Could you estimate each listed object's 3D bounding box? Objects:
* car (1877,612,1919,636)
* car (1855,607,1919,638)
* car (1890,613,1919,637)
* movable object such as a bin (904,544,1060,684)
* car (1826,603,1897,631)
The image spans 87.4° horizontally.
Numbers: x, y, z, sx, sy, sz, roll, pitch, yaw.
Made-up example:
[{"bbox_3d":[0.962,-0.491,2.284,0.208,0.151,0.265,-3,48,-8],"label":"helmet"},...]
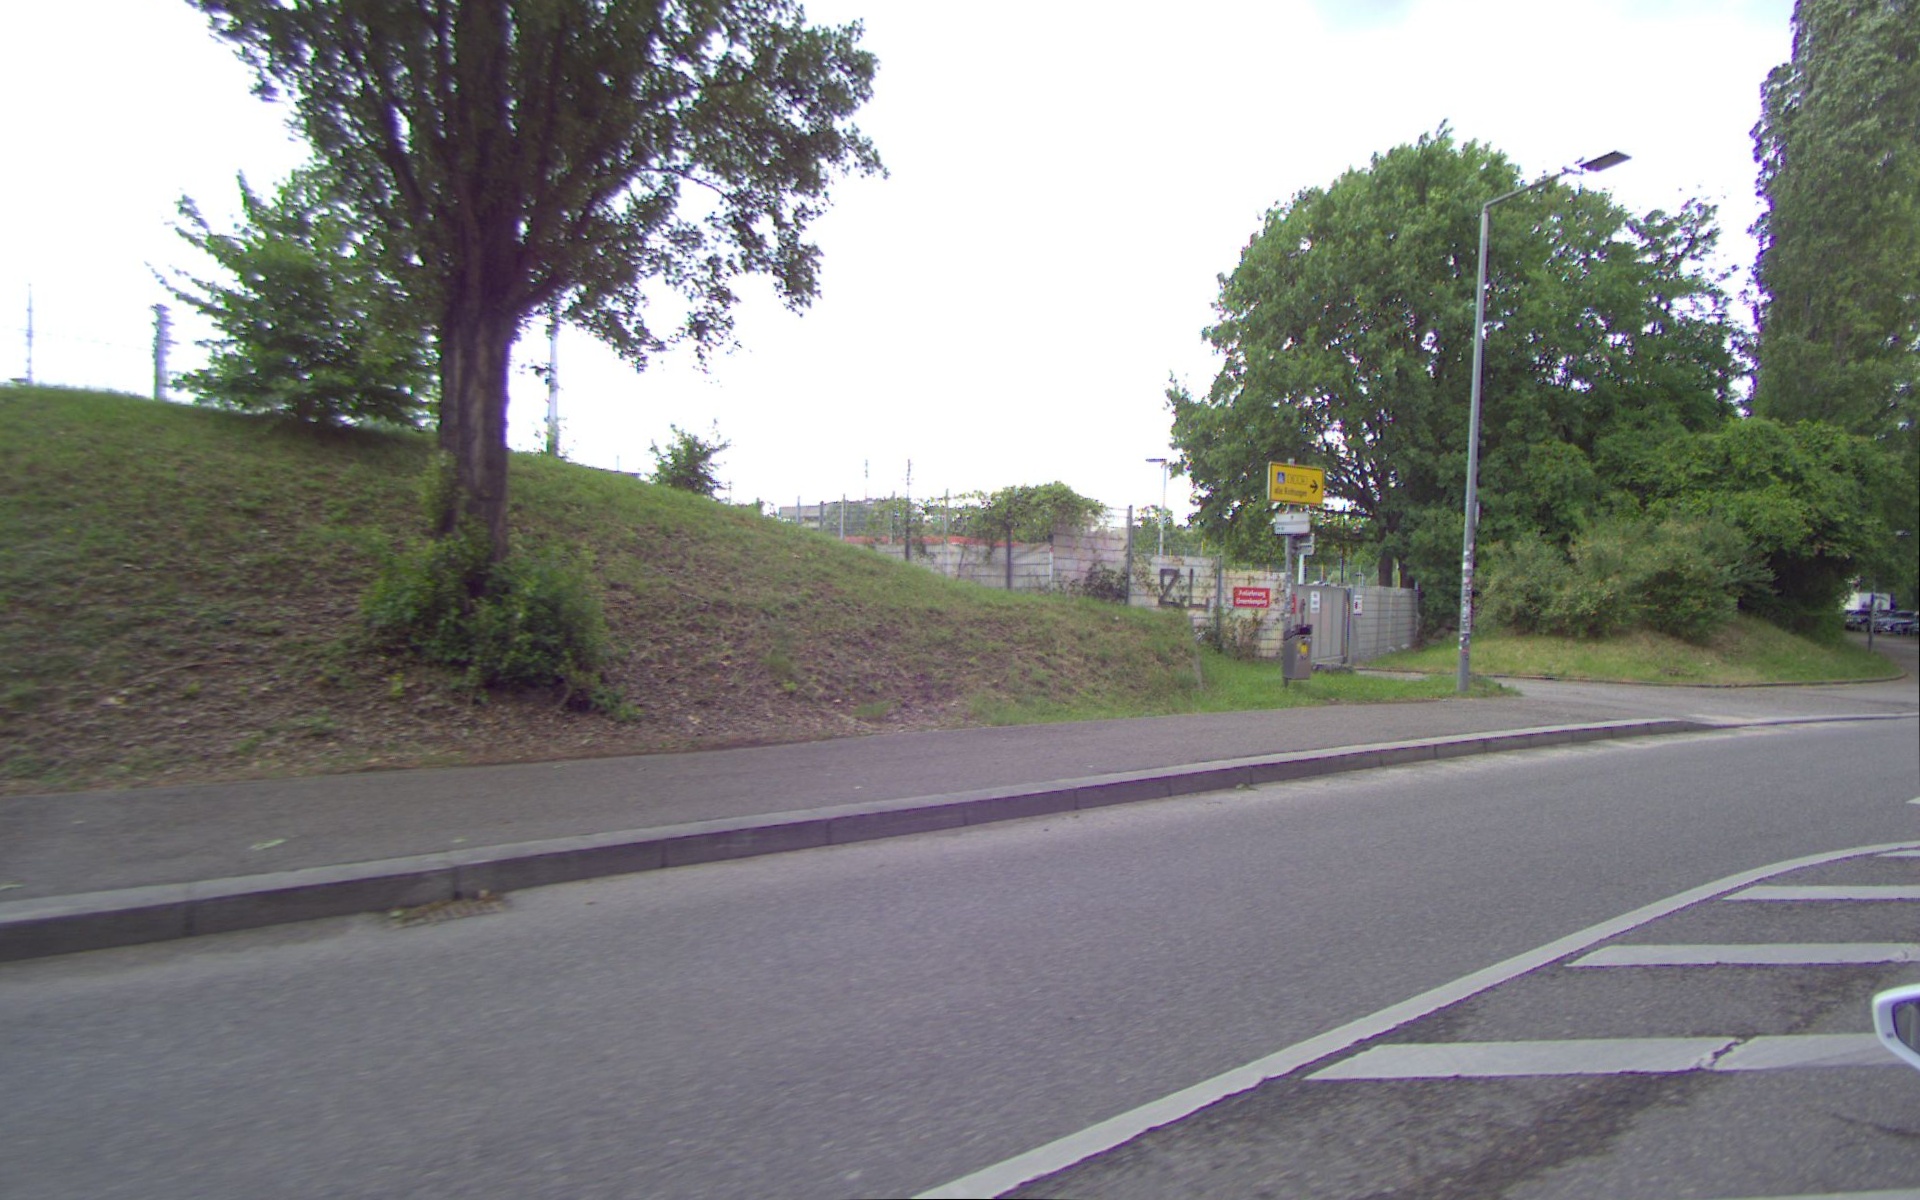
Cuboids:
[{"bbox_3d":[63.324,1.597,66.495,3.814,1.494,1.792,1,0,-5],"label":"car"},{"bbox_3d":[64.373,1.548,69.002,4.219,1.824,1.846,-3,-1,-4],"label":"car"},{"bbox_3d":[61.673,1.623,63.275,4.556,1.454,1.999,1,-1,-4],"label":"car"},{"bbox_3d":[0.617,0.303,22.195,1.988,2.758,4.229,1,-1,23],"label":"movable object such as a bin"},{"bbox_3d":[66.835,1.259,74.496,4.010,1.735,1.655,4,3,-10],"label":"car"}]
